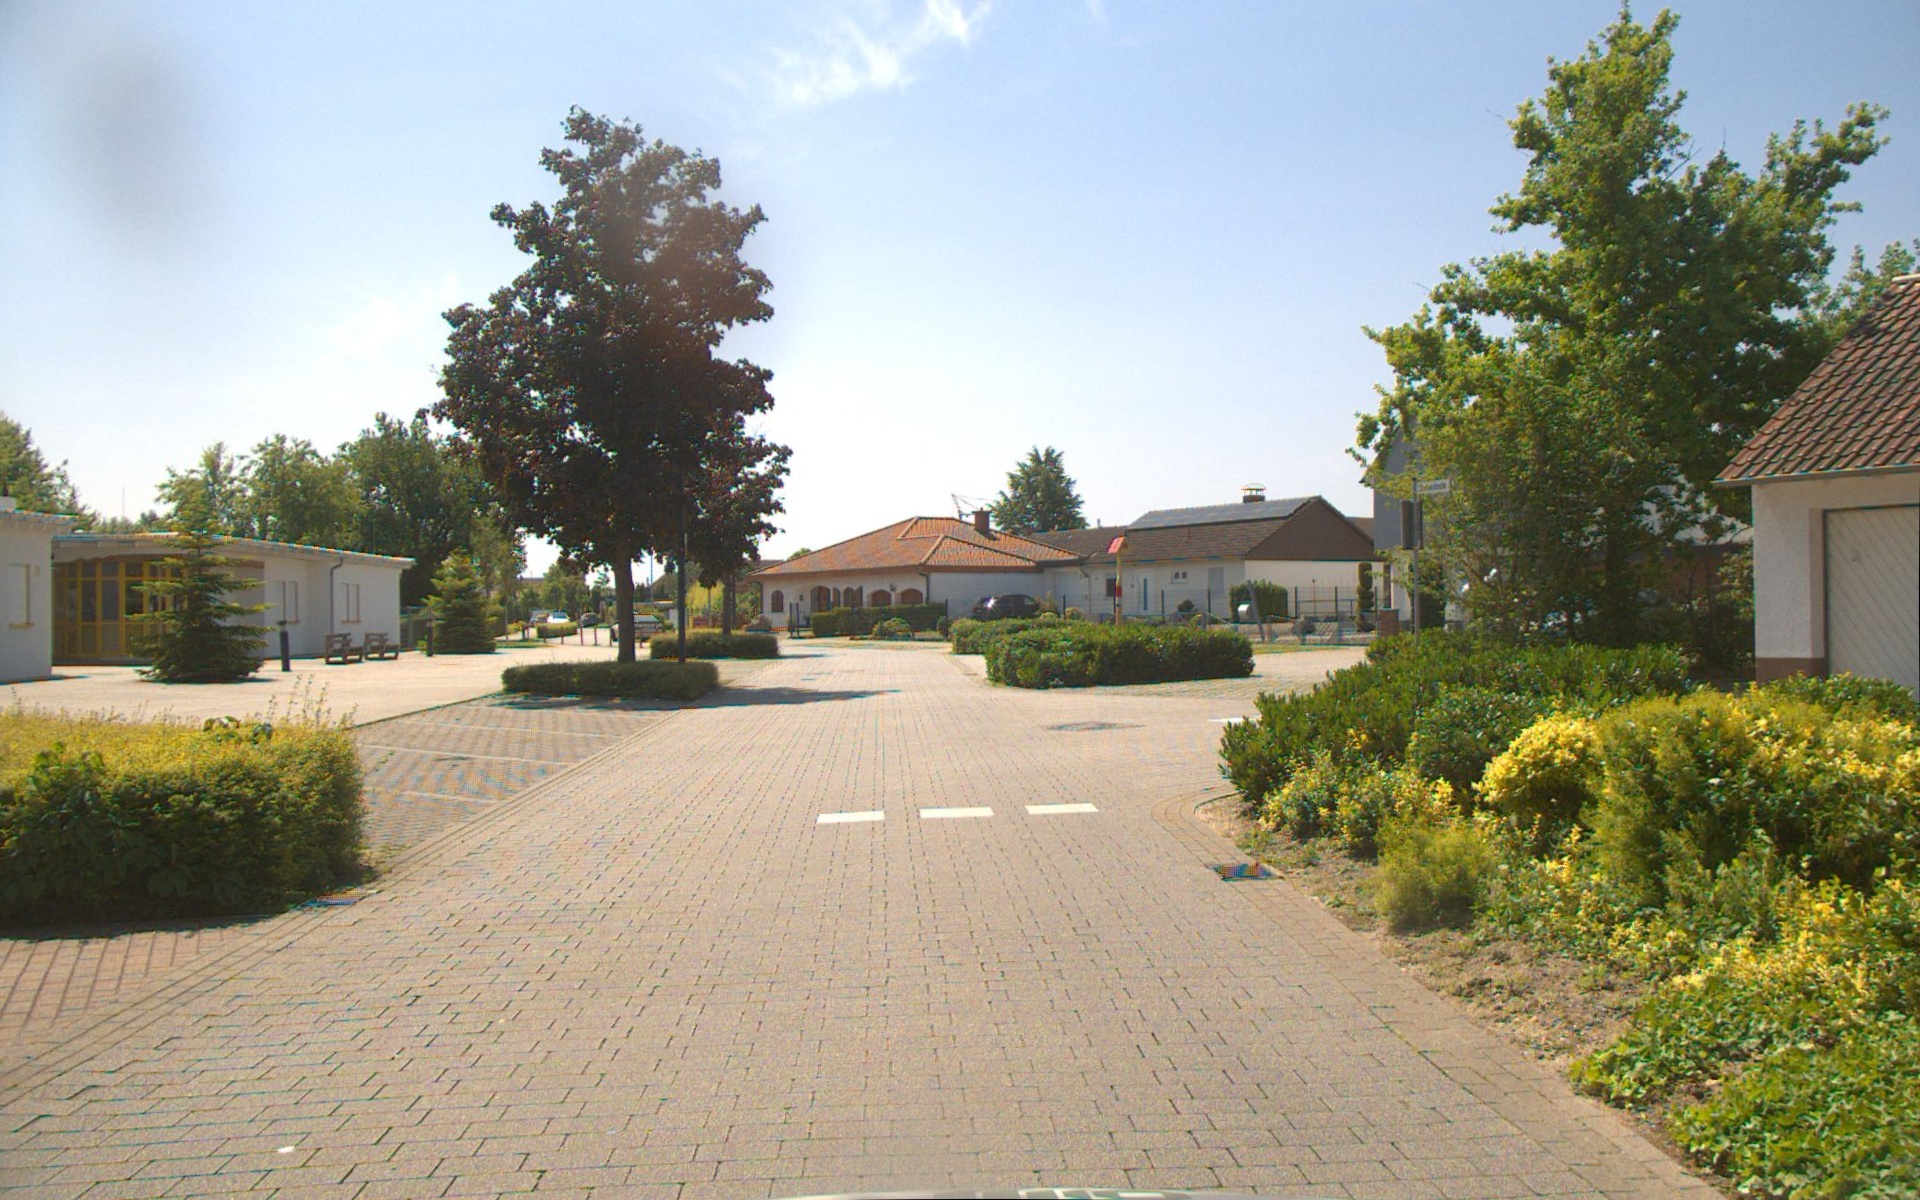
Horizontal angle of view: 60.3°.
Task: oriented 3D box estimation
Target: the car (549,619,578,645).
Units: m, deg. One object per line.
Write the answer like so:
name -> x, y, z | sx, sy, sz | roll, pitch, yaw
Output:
car -> -26.284, 2.102, 109.687 | 1.584, 1.655, 3.549 | -1, -1, -9

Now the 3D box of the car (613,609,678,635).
car -> -16.524, 1.148, 86.769 | 1.975, 1.311, 3.954 | 0, -1, -33

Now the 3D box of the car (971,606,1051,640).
car -> 2.498, 1.104, 80.367 | 1.822, 1.569, 3.811 | -1, -1, 43

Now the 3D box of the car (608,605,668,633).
car -> -15.364, 0.910, 78.872 | 1.600, 1.311, 3.515 | 0, -1, -33
